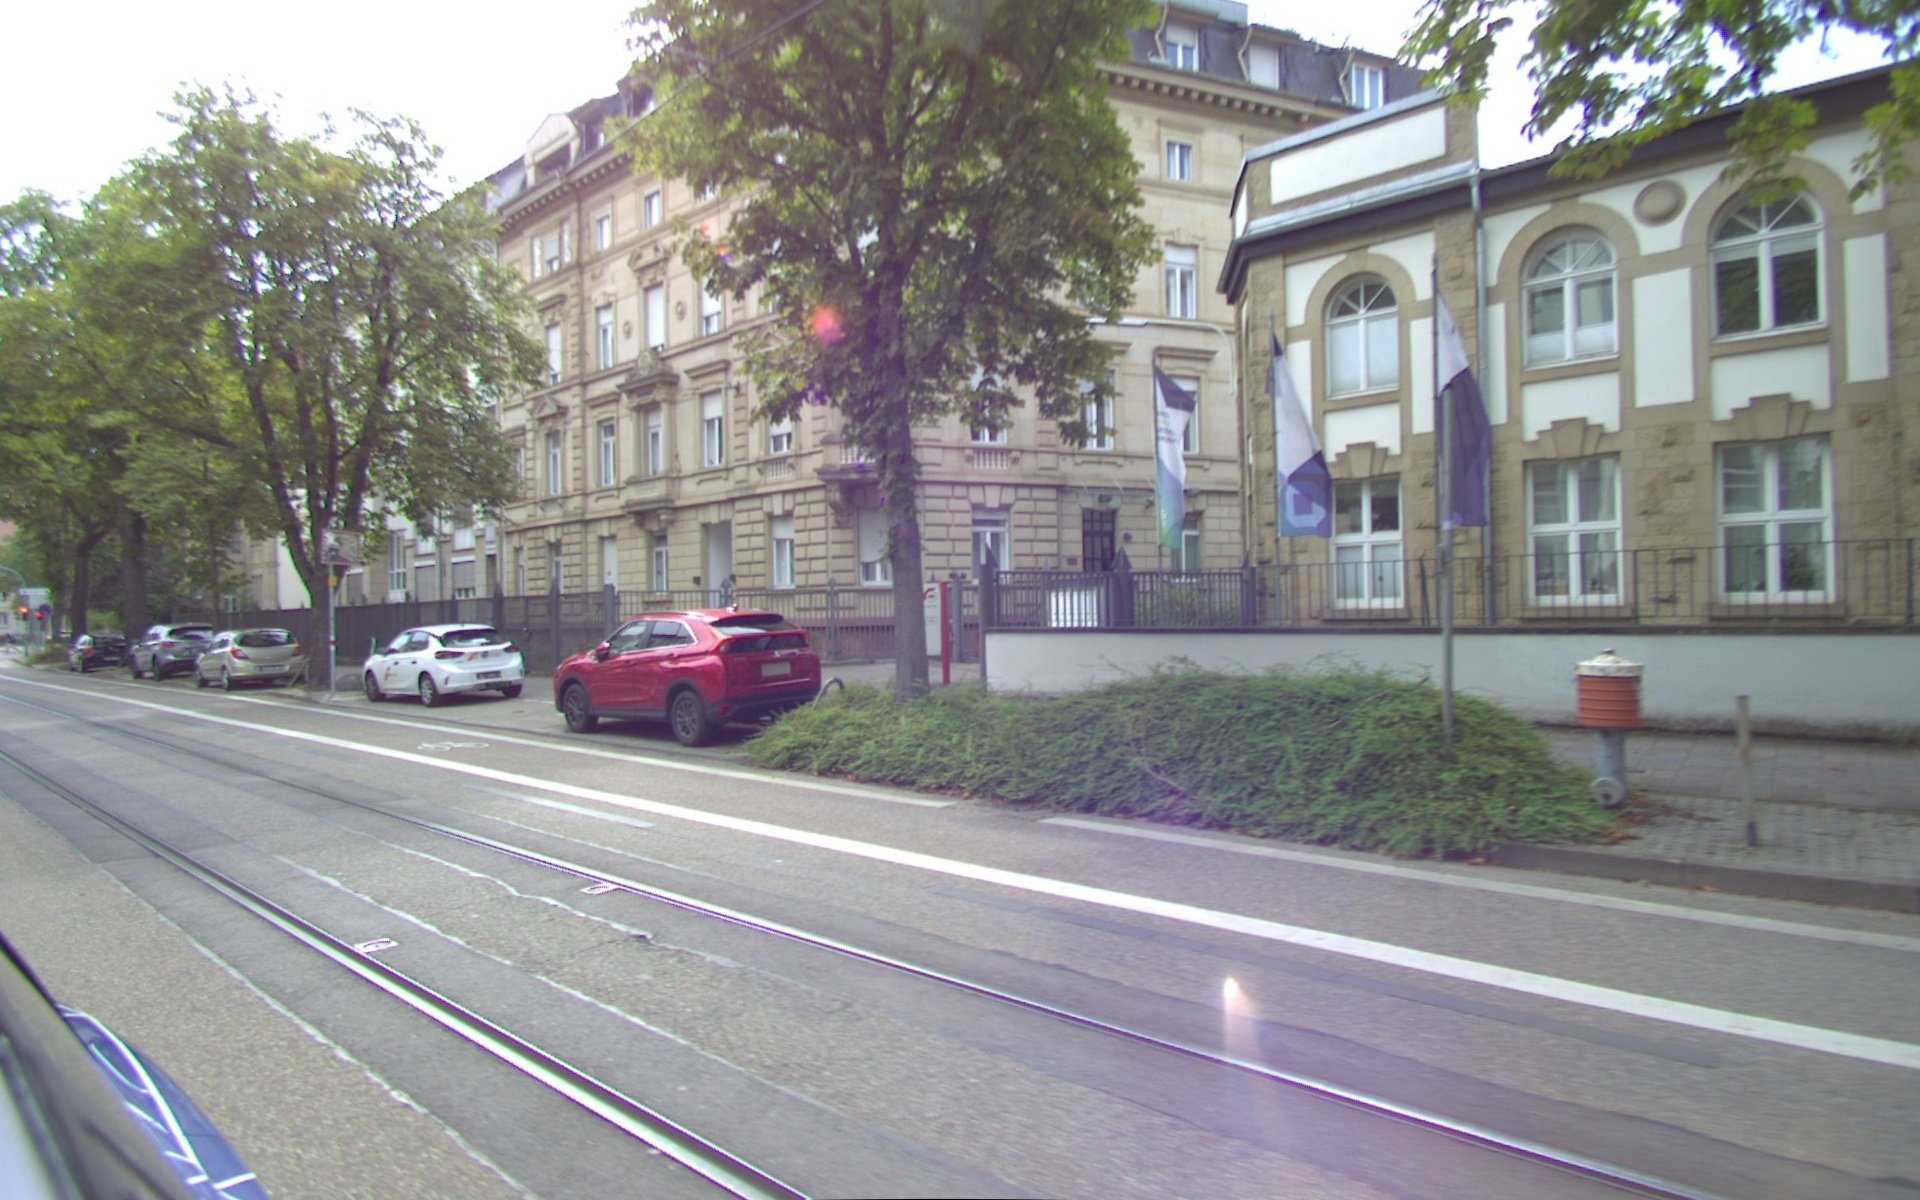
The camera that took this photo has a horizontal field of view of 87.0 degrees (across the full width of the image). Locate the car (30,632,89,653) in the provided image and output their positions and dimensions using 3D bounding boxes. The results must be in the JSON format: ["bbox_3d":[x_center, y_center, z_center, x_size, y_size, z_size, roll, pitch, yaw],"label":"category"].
[{"bbox_3d":[-93.388,4.381,104.987,4.129,1.878,1.859,-2,0,-15],"label":"car"}]

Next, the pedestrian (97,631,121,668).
[{"bbox_3d":[-41.234,2.390,49.025,0.699,1.748,0.699,-2,0,36],"label":"pedestrian"}]

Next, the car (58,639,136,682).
[{"bbox_3d":[-33.140,2.288,38.827,4.165,1.435,1.702,-2,1,42],"label":"car"}]

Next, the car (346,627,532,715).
[{"bbox_3d":[-10.128,1.305,19.564,4.019,1.434,1.704,-2,1,40],"label":"car"}]

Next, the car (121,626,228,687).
[{"bbox_3d":[-24.037,1.695,30.916,4.354,1.686,1.693,-2,-1,40],"label":"car"}]

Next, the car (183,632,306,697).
[{"bbox_3d":[-18.331,1.607,25.858,4.076,1.479,1.584,-2,-1,40],"label":"car"}]

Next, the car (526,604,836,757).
[{"bbox_3d":[-3.893,0.979,13.683,4.538,1.667,1.704,-2,1,40],"label":"car"}]

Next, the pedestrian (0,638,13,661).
[{"bbox_3d":[-70.507,3.668,74.788,0.710,1.703,0.647,-2,-1,36],"label":"pedestrian"}]

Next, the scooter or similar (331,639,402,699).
[{"bbox_3d":[-12.580,1.462,21.457,1.312,1.232,0.559,-2,-1,17],"label":"scooter or similar"}]
